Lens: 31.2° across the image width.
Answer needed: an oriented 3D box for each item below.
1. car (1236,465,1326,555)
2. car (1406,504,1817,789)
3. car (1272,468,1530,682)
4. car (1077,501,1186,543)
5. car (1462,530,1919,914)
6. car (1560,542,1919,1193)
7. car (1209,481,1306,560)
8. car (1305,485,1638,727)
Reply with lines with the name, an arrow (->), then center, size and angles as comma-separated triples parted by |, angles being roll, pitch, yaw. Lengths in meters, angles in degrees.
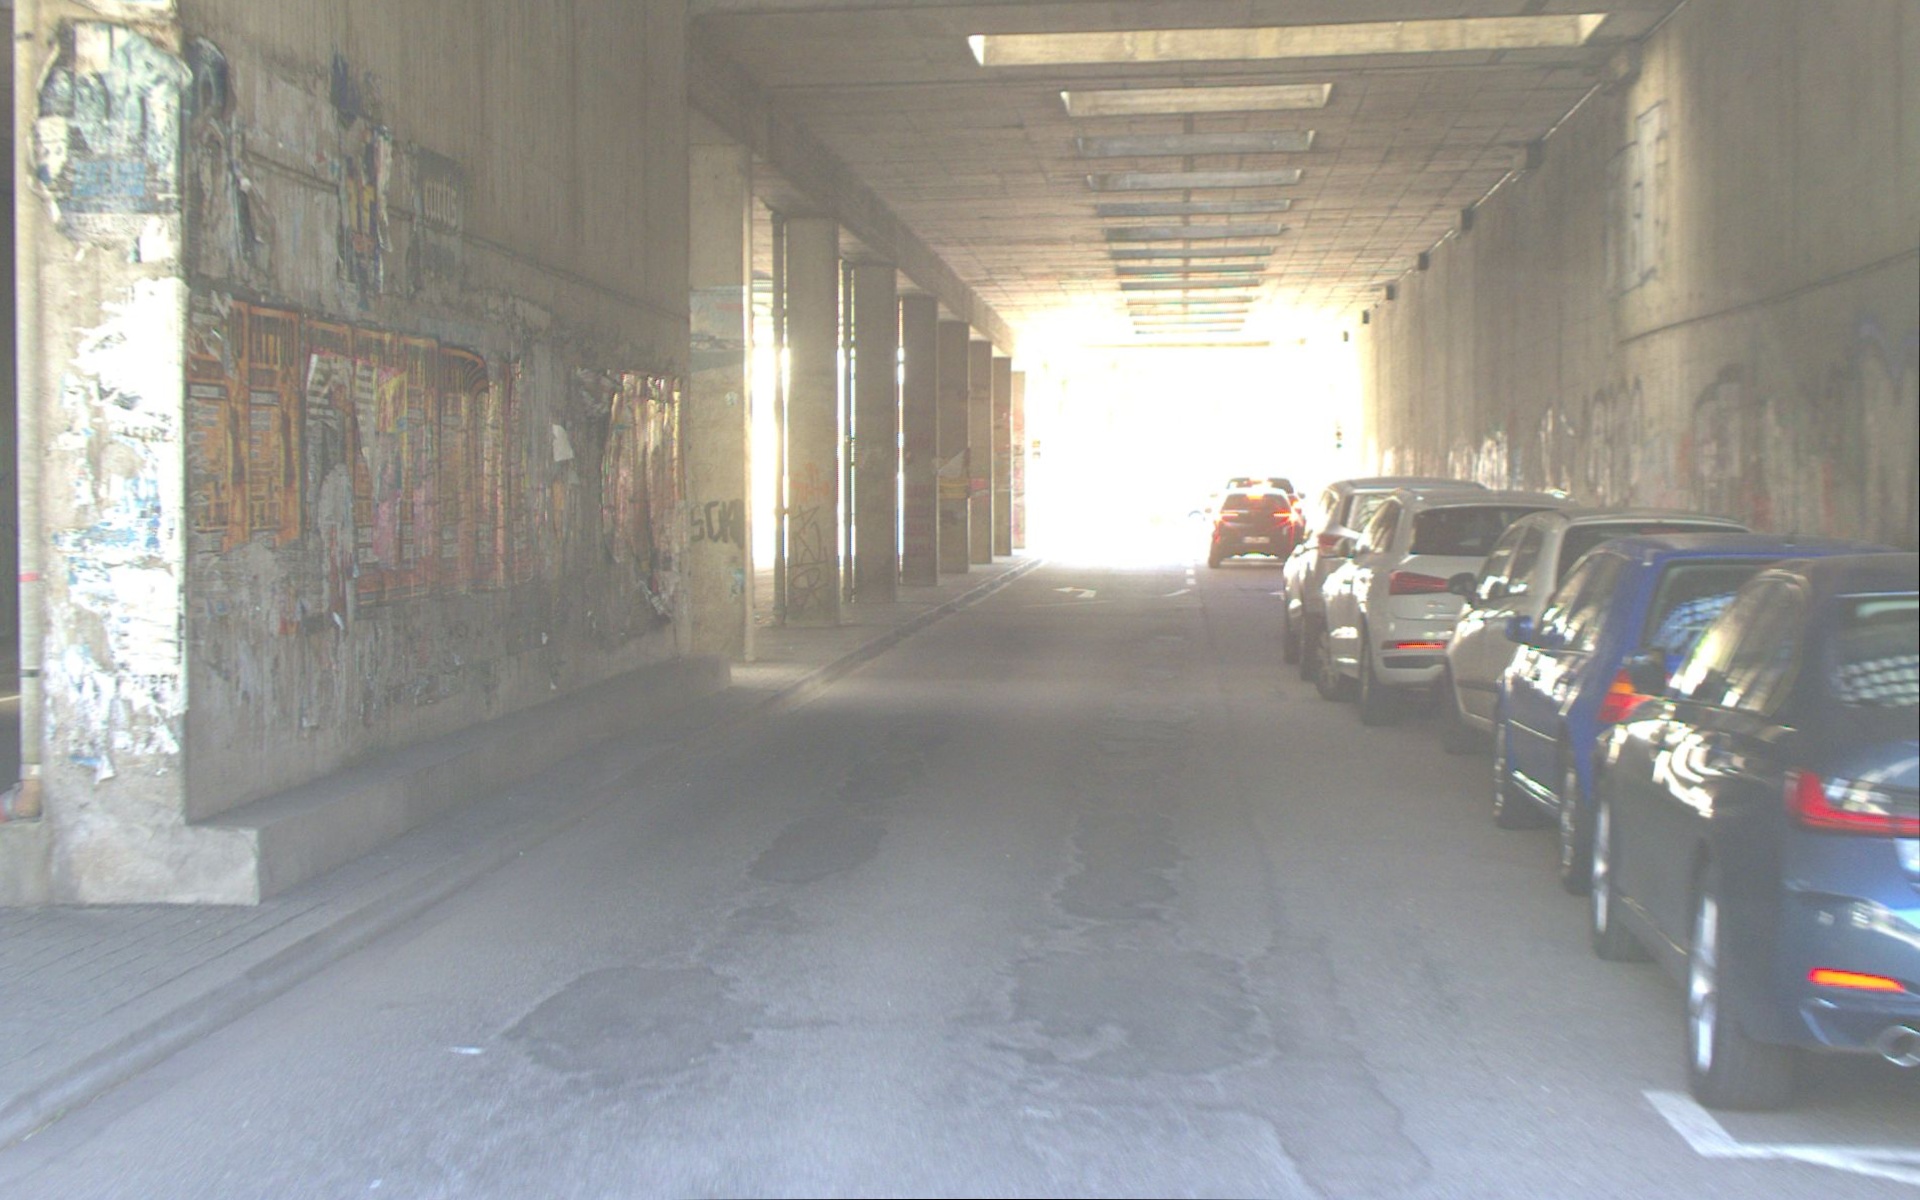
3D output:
car -> 6.945, -1.974, 74.760 | 1.815, 1.876, 4.585 | 0, 2, 4
car -> 3.626, 0.199, 19.713 | 1.603, 1.482, 3.638 | 0, 1, -1
car -> 3.698, -0.285, 29.509 | 1.853, 1.660, 4.371 | 1, 2, 3
car -> 6.526, -2.965, 130.724 | 3.988, 1.568, 1.639 | 0, 1, 8
car -> 3.252, 0.412, 14.773 | 1.761, 1.406, 4.063 | 0, 1, 3
car -> 2.901, 0.591, 10.017 | 1.852, 1.428, 4.606 | 2, 2, 5
car -> 5.820, -1.586, 67.537 | 1.826, 1.495, 4.211 | 0, 2, 4
car -> 3.476, -0.012, 24.038 | 1.729, 1.540, 4.156 | 0, 1, 0
